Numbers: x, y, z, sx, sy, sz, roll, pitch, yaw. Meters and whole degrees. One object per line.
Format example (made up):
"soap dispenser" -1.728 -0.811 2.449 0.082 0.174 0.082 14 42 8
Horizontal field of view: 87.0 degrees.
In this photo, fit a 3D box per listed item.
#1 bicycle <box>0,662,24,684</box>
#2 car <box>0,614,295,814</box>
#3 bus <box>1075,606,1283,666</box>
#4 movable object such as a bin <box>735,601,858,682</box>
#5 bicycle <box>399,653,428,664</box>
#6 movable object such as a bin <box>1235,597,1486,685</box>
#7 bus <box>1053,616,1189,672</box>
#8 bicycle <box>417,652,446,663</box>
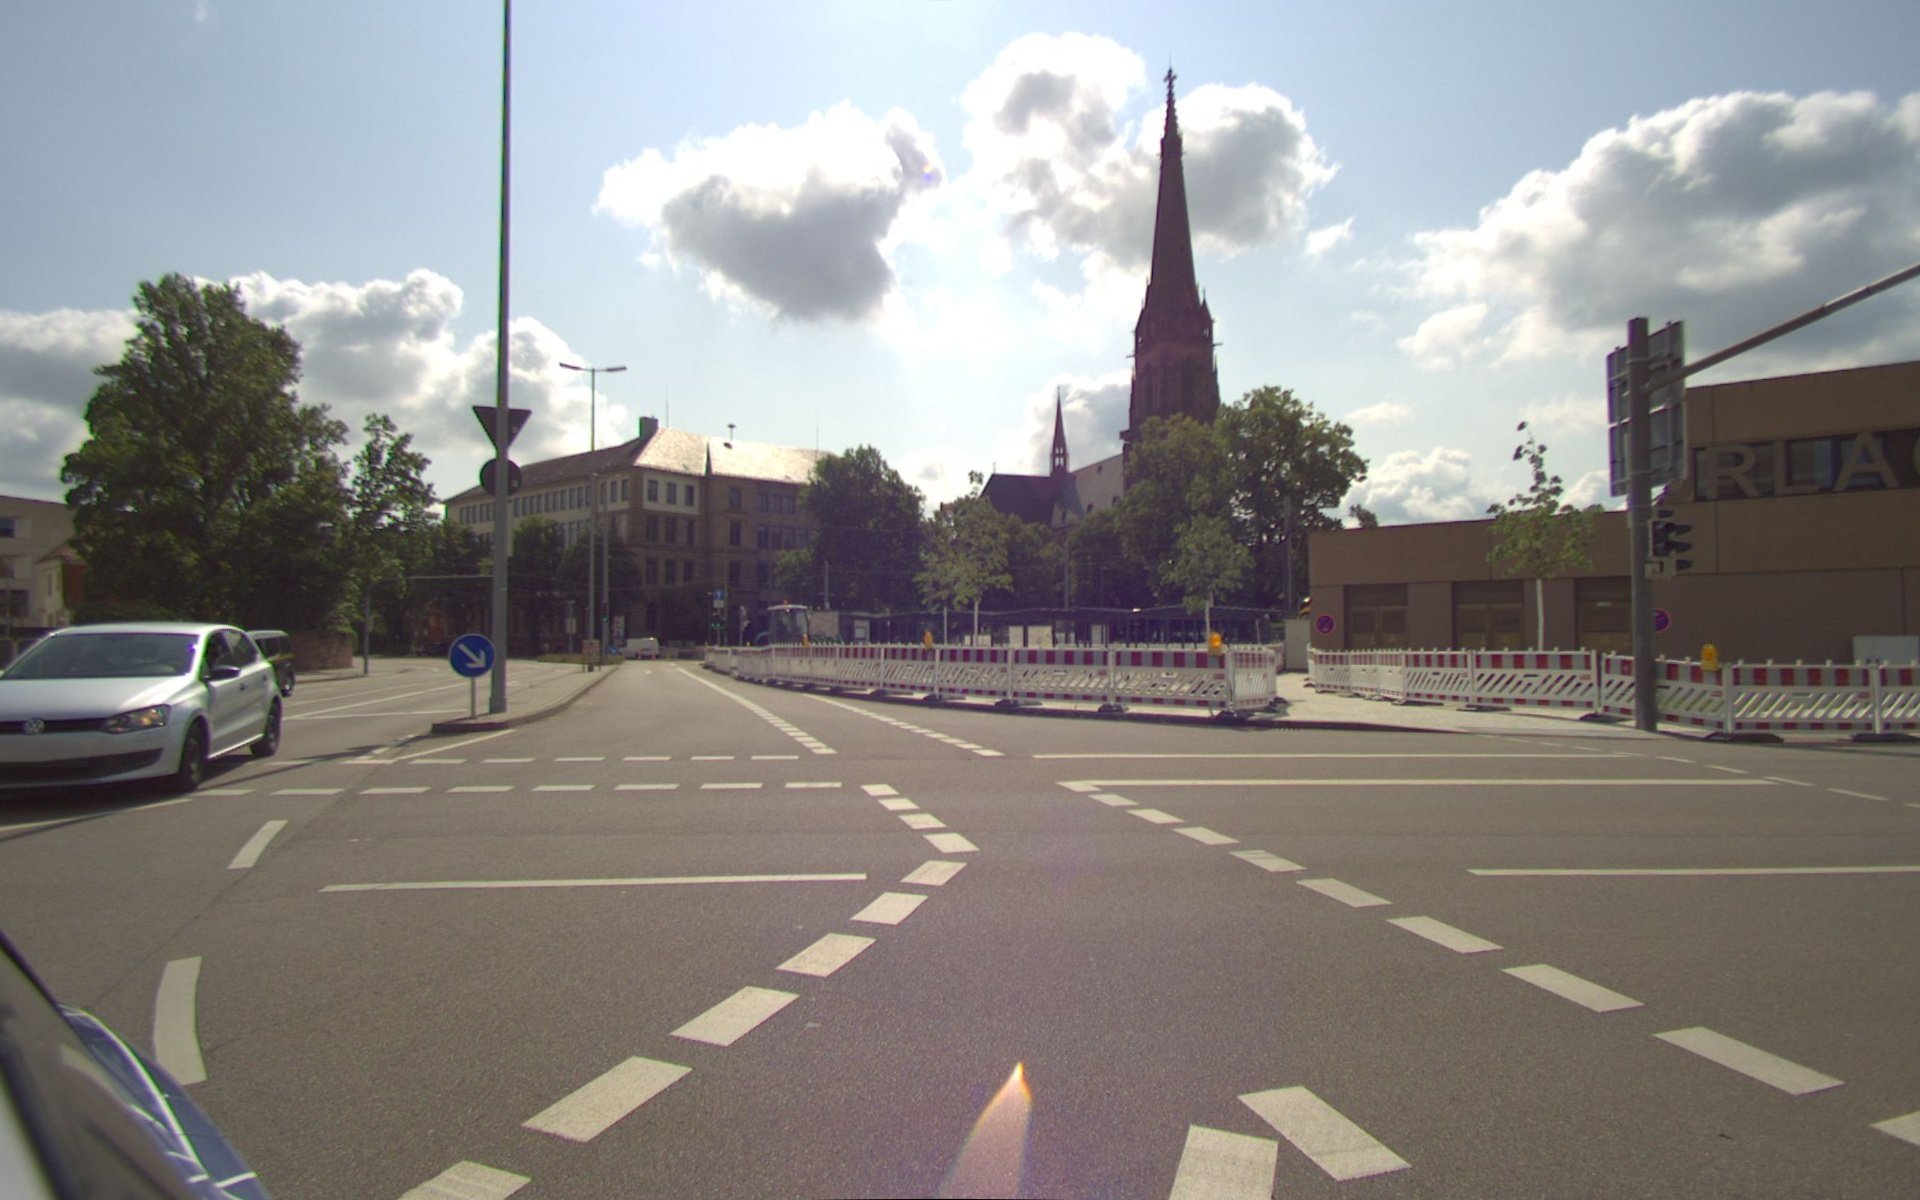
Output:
"bicycle" -39.962 3.008 41.565 0.854 0.867 2.042 0 -3 26
"car" -7.587 0.907 9.268 1.628 1.453 4.018 1 -3 -21
"bus" 12.843 2.174 60.545 12.058 3.287 2.955 -2 -3 38
"movable object such as a bin" -6.360 1.622 39.301 4.432 2.972 1.980 -2 -4 30
"bicycle" -64.617 6.882 119.622 2.848 1.216 1.075 0 0 -10
"movable object such as a bin" 17.137 1.809 43.921 9.677 3.450 2.981 -3 -4 39
"bus" 9.324 2.590 59.268 7.752 3.082 2.343 -2 -4 38
"bicycle" -61.736 6.724 118.227 2.848 1.216 1.052 0 0 -10
